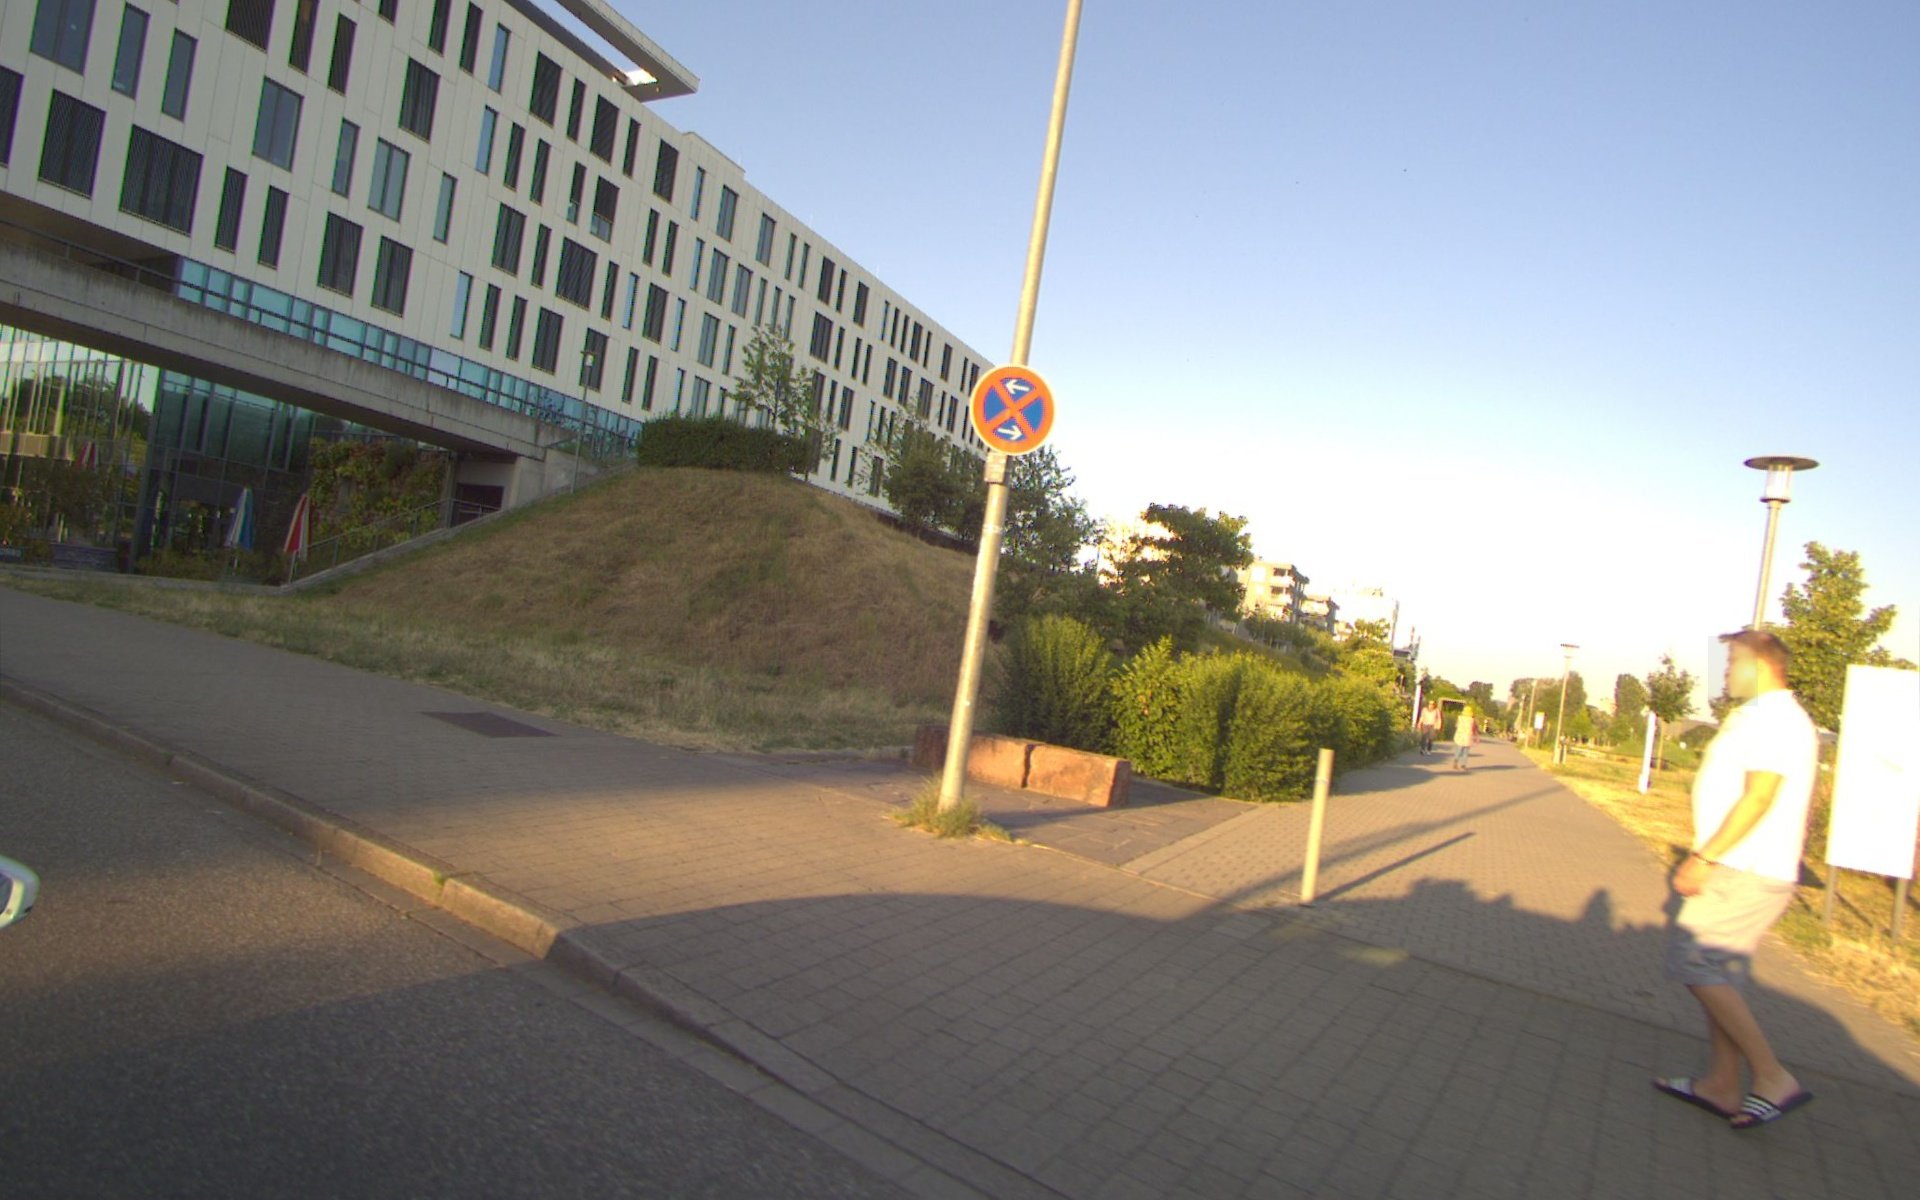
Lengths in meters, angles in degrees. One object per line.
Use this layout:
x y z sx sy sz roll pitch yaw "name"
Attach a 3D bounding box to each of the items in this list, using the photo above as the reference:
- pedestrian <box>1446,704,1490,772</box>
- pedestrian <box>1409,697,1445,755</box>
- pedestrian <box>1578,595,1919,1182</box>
12.197 3.297 24.177 0.753 1.476 0.709 8 -1 26 "pedestrian"
13.723 3.696 29.546 0.753 1.577 0.709 8 -1 26 "pedestrian"
2.875 0.932 3.716 0.805 1.788 0.831 6 0 36 "pedestrian"
